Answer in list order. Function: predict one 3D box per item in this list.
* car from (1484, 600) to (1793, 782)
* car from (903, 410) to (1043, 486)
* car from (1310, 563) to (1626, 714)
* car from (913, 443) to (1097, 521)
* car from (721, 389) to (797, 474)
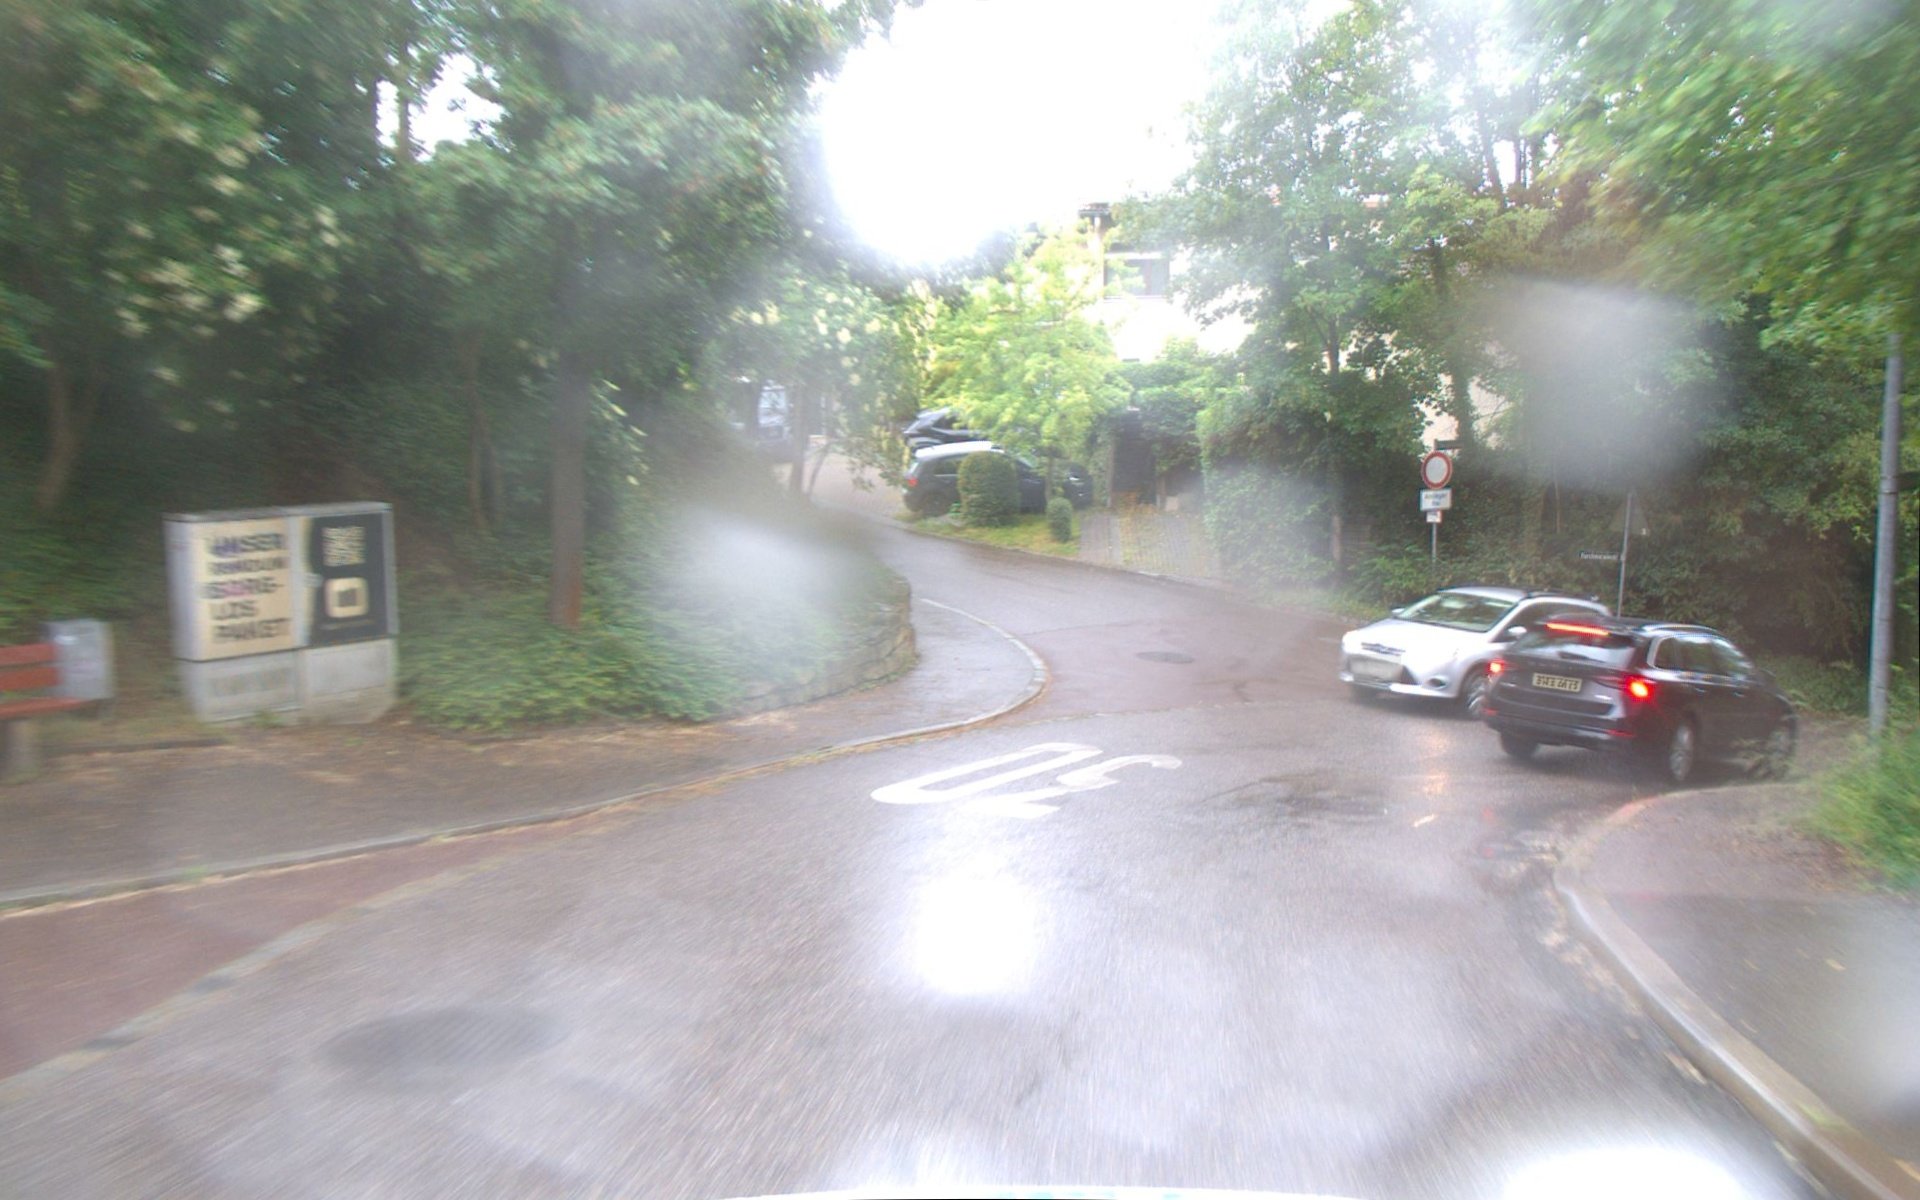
[{"bbox_3d":[6.891,0.800,16.584,1.674,1.475,3.978,4,3,40],"label":"car"},{"bbox_3d":[0.360,-3.776,40.861,3.325,1.598,1.599,0,15,4],"label":"car"},{"bbox_3d":[6.353,0.507,20.493,4.080,1.563,1.655,3,3,-40],"label":"car"},{"bbox_3d":[0.994,-2.580,36.020,3.904,1.439,1.703,-1,11,2],"label":"car"},{"bbox_3d":[-5.529,-4.686,45.496,1.852,1.640,4.004,-5,14,-6],"label":"car"}]
